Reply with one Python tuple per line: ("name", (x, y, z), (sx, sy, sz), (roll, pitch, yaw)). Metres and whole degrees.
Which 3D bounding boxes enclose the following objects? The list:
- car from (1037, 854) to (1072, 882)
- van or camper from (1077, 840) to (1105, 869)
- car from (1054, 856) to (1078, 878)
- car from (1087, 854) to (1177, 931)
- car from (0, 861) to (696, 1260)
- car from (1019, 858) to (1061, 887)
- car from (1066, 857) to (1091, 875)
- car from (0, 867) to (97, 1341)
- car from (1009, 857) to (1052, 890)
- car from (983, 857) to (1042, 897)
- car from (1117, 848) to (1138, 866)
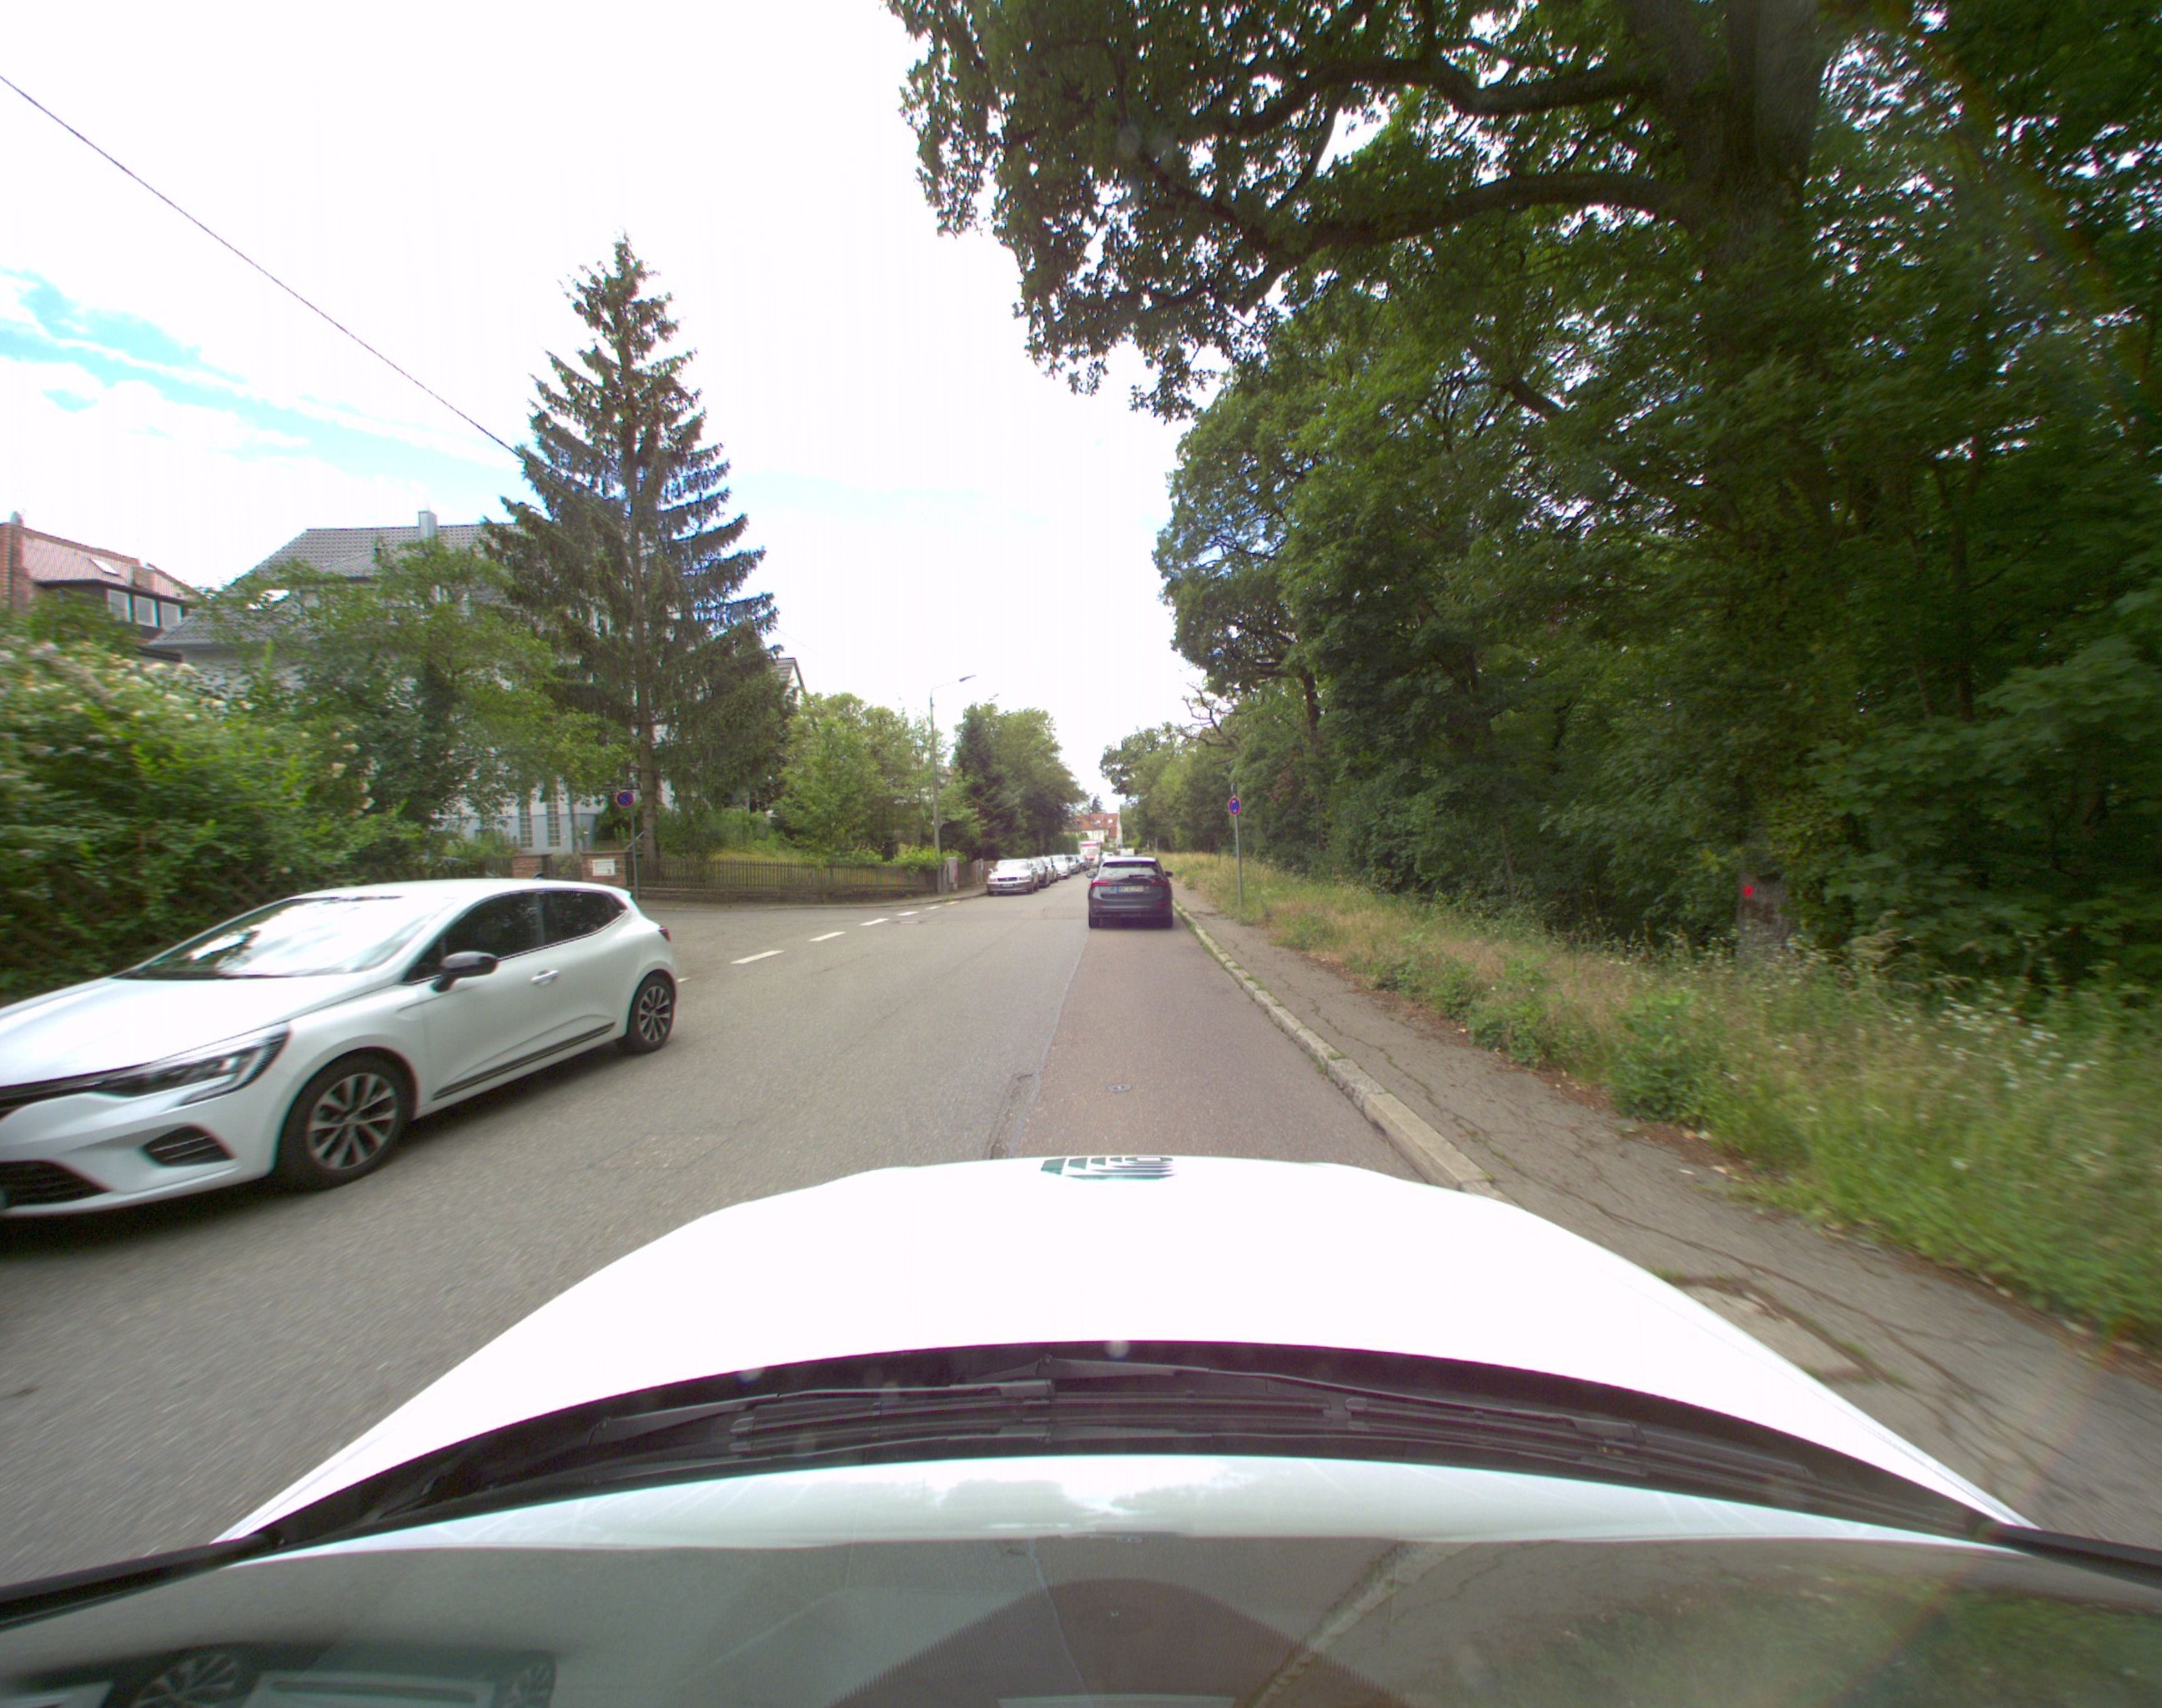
("car", (-1.651, 0.874, 52.347), (1.910, 1.562, 4.604), (-4, 0, 1))
("van or camper", (1.038, 0.042, 87.324), (2.450, 2.895, 7.161), (-3, 0, -2))
("car", (-1.115, 0.962, 62.791), (1.715, 1.505, 4.007), (-4, 0, 0))
("car", (1.008, 0.753, 17.952), (1.722, 1.439, 4.323), (-1, 0, 0))
("car", (-4.363, 0.833, 5.186), (1.777, 1.500, 4.016), (-1, 0, 2))
("car", (-2.245, 0.977, 45.580), (1.827, 1.439, 4.120), (-3, 0, 3))
("car", (-0.210, 1.056, 75.654), (1.789, 1.505, 4.870), (-4, 0, 5))
("car", (-4.392, 0.815, 0.842), (1.777, 1.500, 4.016), (-1, 0, 2))
("car", (-2.385, 0.903, 39.469), (1.728, 1.439, 4.262), (-3, 0, 0))
("car", (-2.751, 0.904, 33.648), (1.841, 1.439, 4.911), (-3, 0, 1))
("car", (5.314, 0.317, 93.146), (2.065, 1.922, 4.922), (-1, 0, 0))
